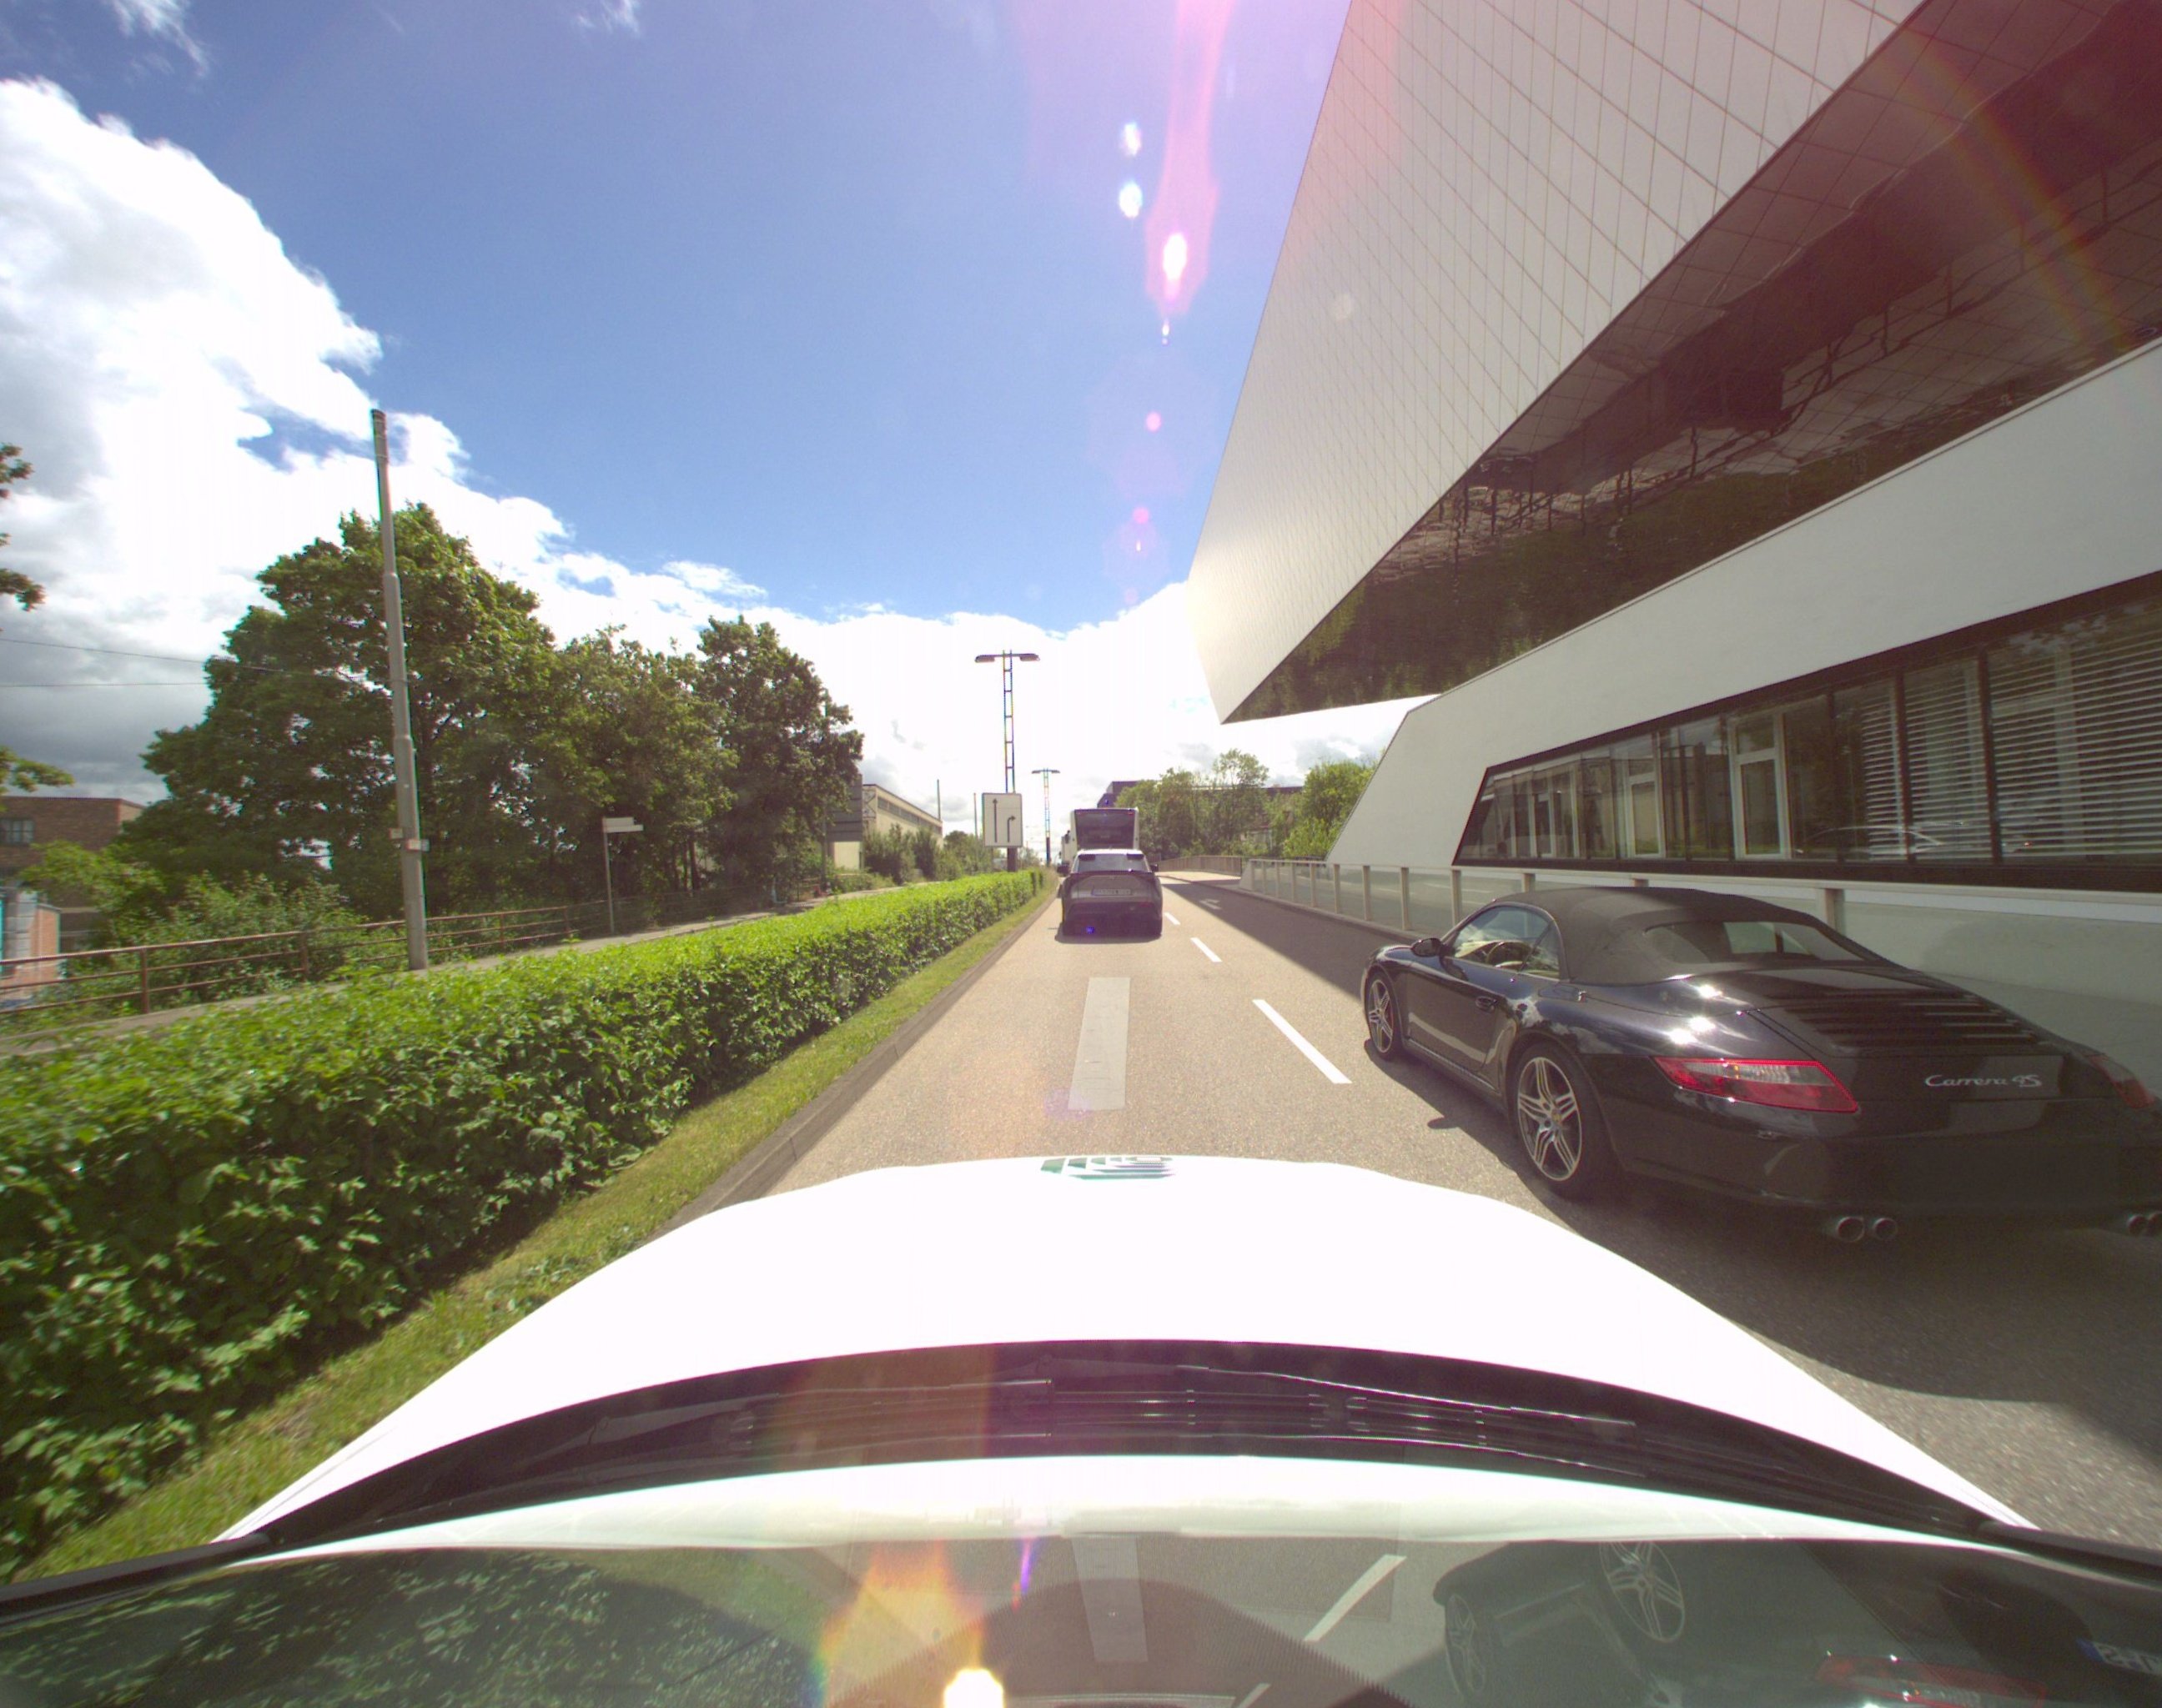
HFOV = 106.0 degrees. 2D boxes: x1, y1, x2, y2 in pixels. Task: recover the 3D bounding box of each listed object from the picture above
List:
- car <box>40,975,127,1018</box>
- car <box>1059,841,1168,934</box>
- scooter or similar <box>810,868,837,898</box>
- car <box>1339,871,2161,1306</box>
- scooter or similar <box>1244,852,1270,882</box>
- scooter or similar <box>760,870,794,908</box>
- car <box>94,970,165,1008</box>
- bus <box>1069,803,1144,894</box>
[{"bbox_3d":[-50.956,7.228,41.687,1.727,1.527,3.722,-3,0,-34],"label":"car"},{"bbox_3d":[0.593,0.591,16.279,1.873,1.594,4.230,-1,0,1],"label":"car"},{"bbox_3d":[-10.997,1.215,34.798,0.489,1.216,1.644,-3,0,3],"label":"scooter or similar"},{"bbox_3d":[2.926,0.782,4.612,1.713,1.275,4.089,-1,0,2],"label":"car"},{"bbox_3d":[7.669,0.557,35.534,0.651,1.214,1.856,-3,-1,-2],"label":"scooter or similar"},{"bbox_3d":[-10.987,1.251,29.477,0.489,1.304,1.644,-1,0,3],"label":"scooter or similar"},{"bbox_3d":[-54.168,7.632,46.430,1.727,1.527,3.721,-3,0,-35],"label":"car"},{"bbox_3d":[1.160,-0.271,35.274,2.678,3.255,12.064,-1,1,2],"label":"bus"}]
